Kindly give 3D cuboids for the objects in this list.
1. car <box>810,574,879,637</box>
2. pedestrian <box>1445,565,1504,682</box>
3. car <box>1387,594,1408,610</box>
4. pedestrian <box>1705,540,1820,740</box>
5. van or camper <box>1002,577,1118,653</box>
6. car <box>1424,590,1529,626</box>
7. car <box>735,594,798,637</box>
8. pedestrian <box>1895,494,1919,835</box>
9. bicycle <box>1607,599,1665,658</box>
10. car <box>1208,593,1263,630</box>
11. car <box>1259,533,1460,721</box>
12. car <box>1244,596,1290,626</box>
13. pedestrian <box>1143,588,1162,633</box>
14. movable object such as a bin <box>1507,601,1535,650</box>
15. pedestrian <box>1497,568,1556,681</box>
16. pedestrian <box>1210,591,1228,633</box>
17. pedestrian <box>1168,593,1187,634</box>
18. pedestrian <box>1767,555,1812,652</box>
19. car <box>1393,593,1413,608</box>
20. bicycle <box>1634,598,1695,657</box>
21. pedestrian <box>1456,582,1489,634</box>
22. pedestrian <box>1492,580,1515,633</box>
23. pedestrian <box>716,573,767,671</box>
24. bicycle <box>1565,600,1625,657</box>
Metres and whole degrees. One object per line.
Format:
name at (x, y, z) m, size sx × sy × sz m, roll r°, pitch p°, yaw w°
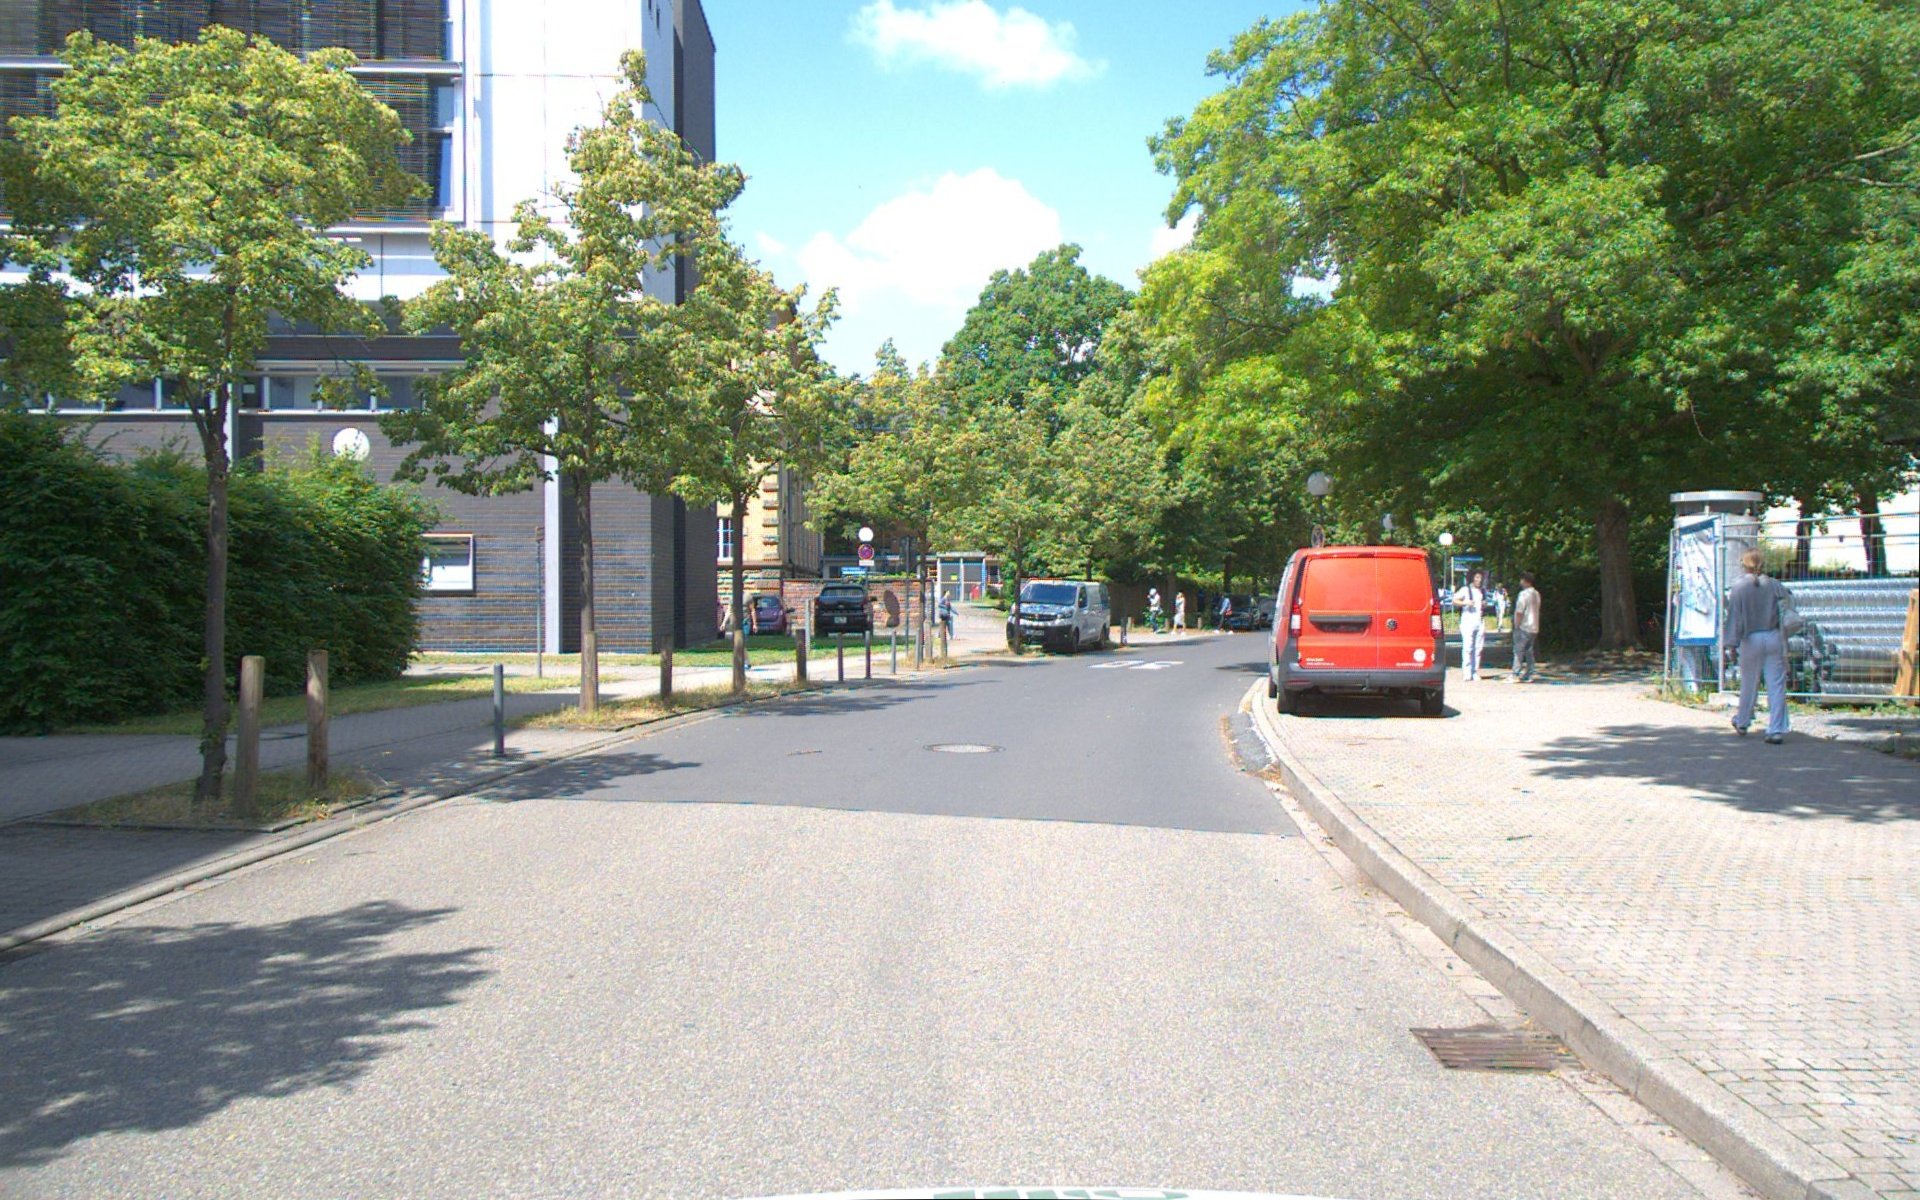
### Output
car at (-3.767, 0.165, 54.138) m, size 2.132 × 1.959 × 5.182 m, roll 0°, pitch 0°, yaw -4°
pedestrian at (8.320, 0.370, 26.755) m, size 0.716 × 1.853 × 0.621 m, roll 0°, pitch 0°, yaw -38°
car at (38.833, 0.152, 146.702) m, size 1.582 × 1.388 × 4.002 m, roll 0°, pitch 0°, yaw 18°
pedestrian at (6.831, 0.335, 14.110) m, size 0.697 × 1.660 × 0.712 m, roll 0°, pitch 0°, yaw 9°
van or camper at (2.866, 0.373, 46.127) m, size 1.912 × 1.957 × 5.423 m, roll 1°, pitch 0°, yaw 18°
car at (23.237, 0.363, 74.413) m, size 4.392 × 1.552 × 1.811 m, roll -1°, pitch 0°, yaw 20°
car at (-6.293, 0.478, 54.009) m, size 1.781 × 1.347 × 3.766 m, roll 0°, pitch 0°, yaw -3°
pedestrian at (5.444, 0.335, 8.538) m, size 0.832 × 1.795 × 0.716 m, roll -1°, pitch 0°, yaw 4°
bicycle at (13.470, 0.548, 32.987) m, size 0.488 × 1.138 × 1.873 m, roll 0°, pitch 0°, yaw 4°
car at (11.890, 0.464, 71.253) m, size 1.723 × 1.548 × 4.113 m, roll 0°, pitch 0°, yaw 19°
car at (4.567, 0.274, 19.537) m, size 1.809 × 1.924 × 4.894 m, roll -1°, pitch 0°, yaw 8°
car at (14.585, 0.501, 78.403) m, size 1.582 × 1.412 × 4.002 m, roll 0°, pitch 0°, yaw 19°
pedestrian at (7.355, 0.392, 63.236) m, size 0.615 × 1.692 × 0.602 m, roll 0°, pitch 0°, yaw -7°
movable object such as a bin at (12.445, 0.564, 36.689) m, size 0.479 × 1.091 × 0.505 m, roll 0°, pitch 0°, yaw 5°
pedestrian at (8.867, 0.372, 25.894) m, size 0.738 × 1.740 × 0.556 m, roll 0°, pitch 0°, yaw -38°
pedestrian at (10.049, 0.463, 64.119) m, size 0.489 × 1.613 × 0.488 m, roll 0°, pitch 0°, yaw -32°
pedestrian at (8.169, 0.498, 62.121) m, size 0.573 × 1.553 × 0.492 m, roll 0°, pitch 0°, yaw -12°
pedestrian at (16.242, 0.074, 32.400) m, size 0.531 × 1.869 × 0.762 m, roll 0°, pitch 0°, yaw 5°
car at (41.828, 0.061, 156.100) m, size 1.582 × 1.388 × 4.564 m, roll 0°, pitch 0°, yaw 18°
bicycle at (13.975, 0.528, 32.835) m, size 0.488 × 1.138 × 1.937 m, roll 0°, pitch 0°, yaw 4°
pedestrian at (18.934, 0.303, 61.090) m, size 0.805 × 1.783 × 0.841 m, roll -12°, pitch -4°, yaw 19°
pedestrian at (19.903, 0.242, 60.530) m, size 0.659 × 1.905 × 0.791 m, roll 0°, pitch 0°, yaw 29°
pedestrian at (-4.060, 0.394, 30.808) m, size 0.572 × 1.795 × 0.911 m, roll 0°, pitch 0°, yaw 21°
bicycle at (12.925, 0.567, 33.721) m, size 0.606 × 1.138 × 1.873 m, roll 0°, pitch 0°, yaw 4°
